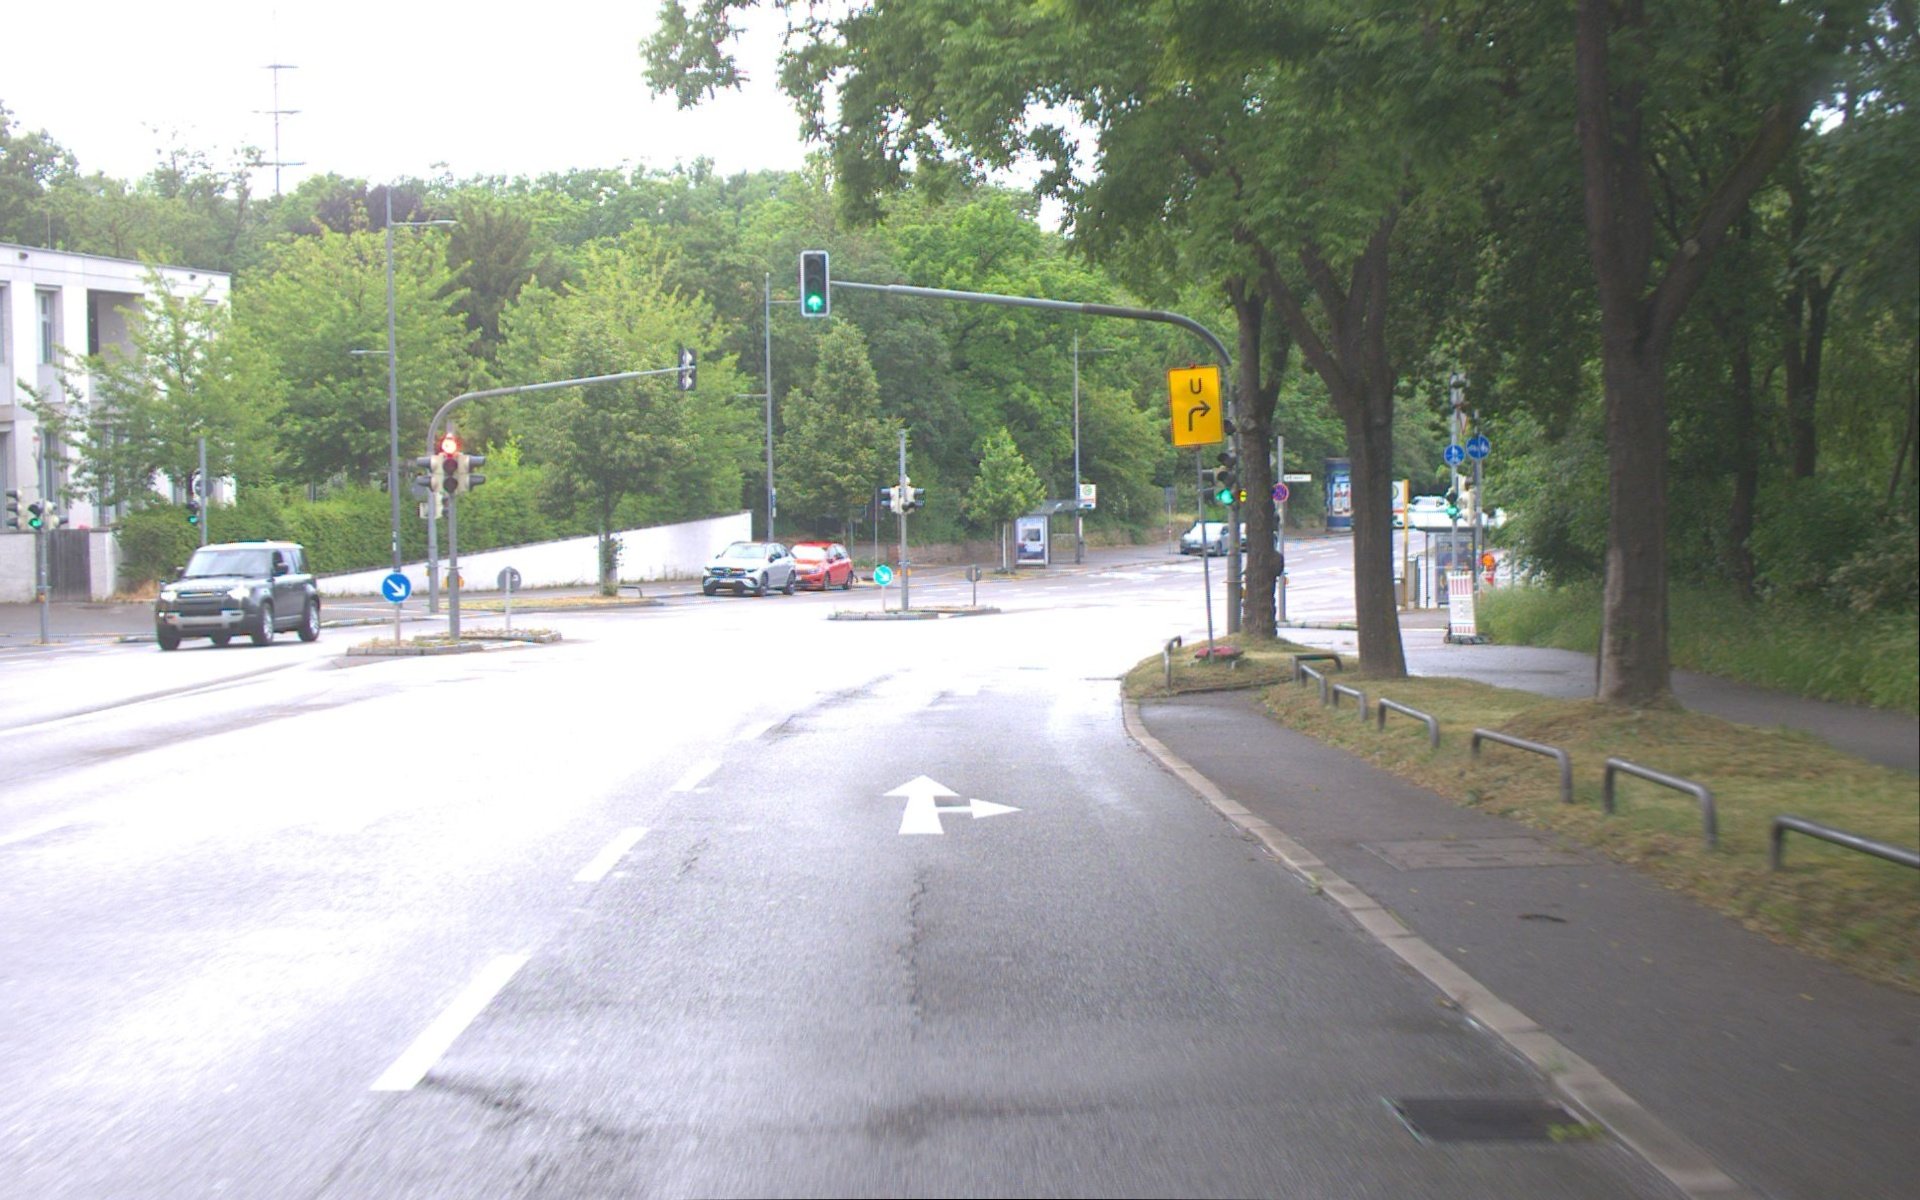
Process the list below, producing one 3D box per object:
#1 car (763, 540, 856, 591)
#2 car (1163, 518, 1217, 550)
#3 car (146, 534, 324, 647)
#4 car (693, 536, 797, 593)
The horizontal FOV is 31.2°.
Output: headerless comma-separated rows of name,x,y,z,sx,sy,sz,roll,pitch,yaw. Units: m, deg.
car,-4.956,-1.153,113.464,1.876,1.569,4.220,3,2,14
car,11.066,-3.170,165.521,1.714,1.455,3.747,1,1,18
car,-13.225,-0.214,62.975,1.921,1.851,4.506,-4,1,4
car,-6.628,-1.117,106.329,1.854,1.634,4.091,3,2,16
